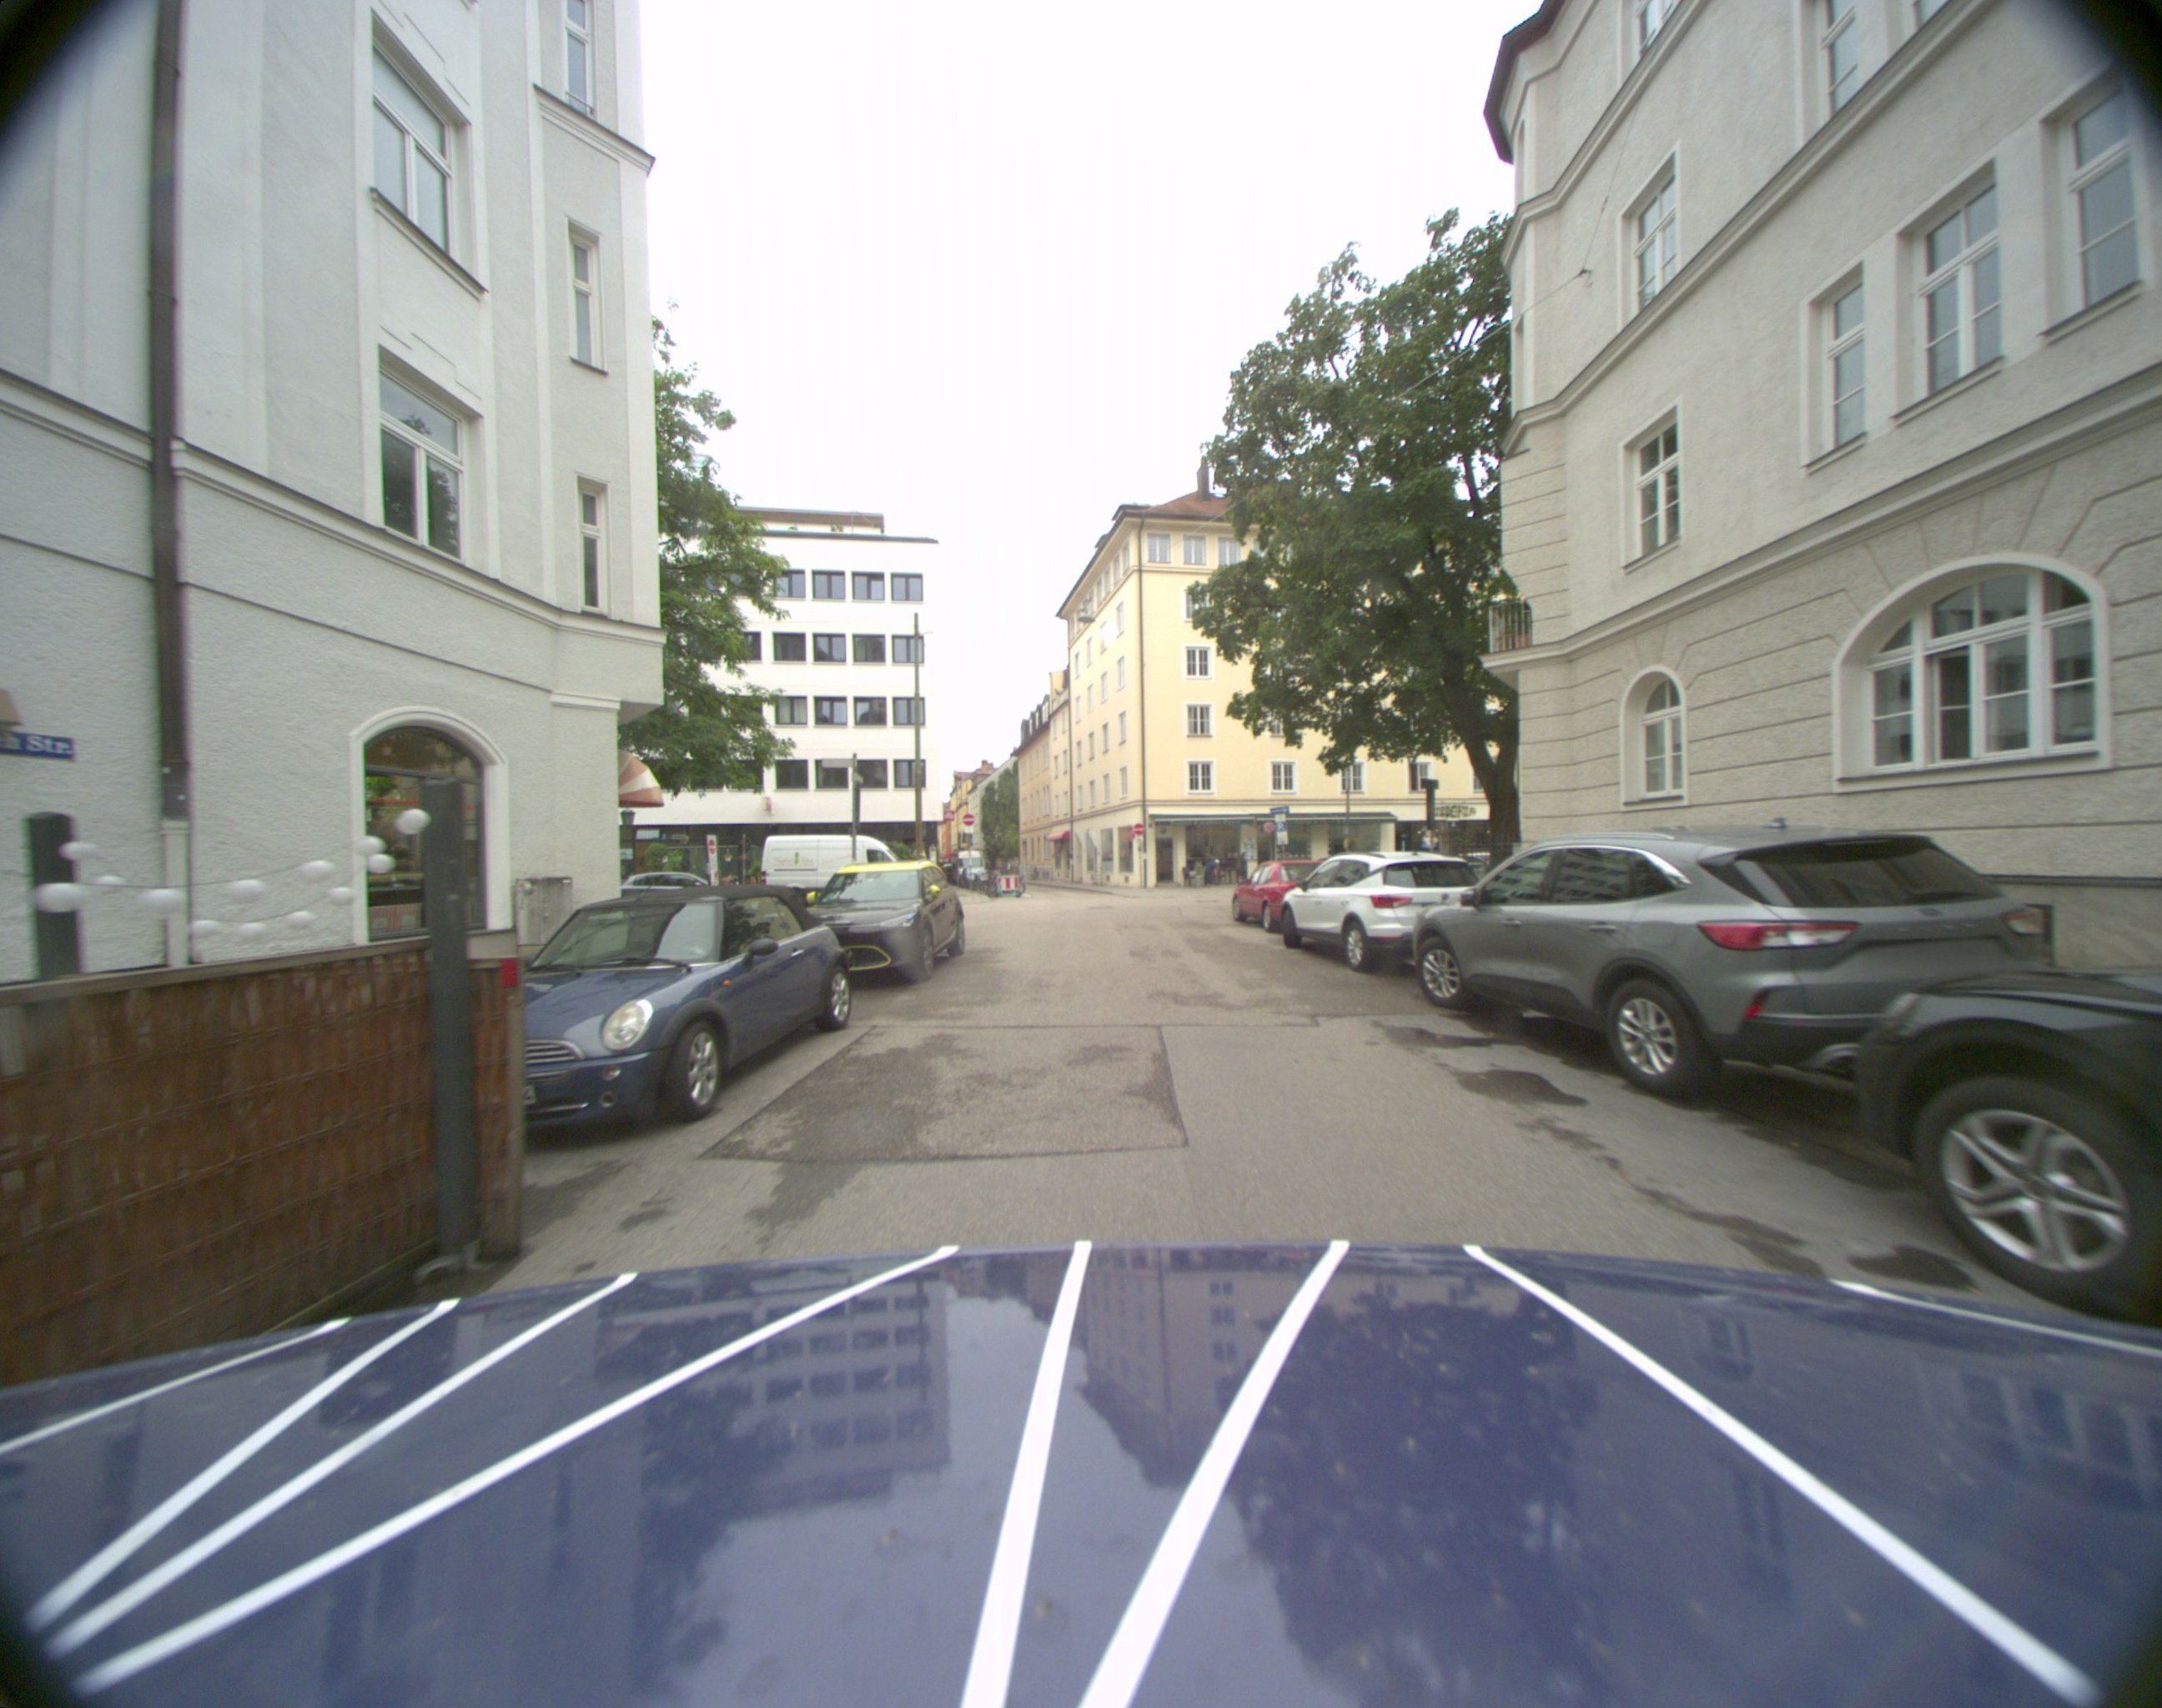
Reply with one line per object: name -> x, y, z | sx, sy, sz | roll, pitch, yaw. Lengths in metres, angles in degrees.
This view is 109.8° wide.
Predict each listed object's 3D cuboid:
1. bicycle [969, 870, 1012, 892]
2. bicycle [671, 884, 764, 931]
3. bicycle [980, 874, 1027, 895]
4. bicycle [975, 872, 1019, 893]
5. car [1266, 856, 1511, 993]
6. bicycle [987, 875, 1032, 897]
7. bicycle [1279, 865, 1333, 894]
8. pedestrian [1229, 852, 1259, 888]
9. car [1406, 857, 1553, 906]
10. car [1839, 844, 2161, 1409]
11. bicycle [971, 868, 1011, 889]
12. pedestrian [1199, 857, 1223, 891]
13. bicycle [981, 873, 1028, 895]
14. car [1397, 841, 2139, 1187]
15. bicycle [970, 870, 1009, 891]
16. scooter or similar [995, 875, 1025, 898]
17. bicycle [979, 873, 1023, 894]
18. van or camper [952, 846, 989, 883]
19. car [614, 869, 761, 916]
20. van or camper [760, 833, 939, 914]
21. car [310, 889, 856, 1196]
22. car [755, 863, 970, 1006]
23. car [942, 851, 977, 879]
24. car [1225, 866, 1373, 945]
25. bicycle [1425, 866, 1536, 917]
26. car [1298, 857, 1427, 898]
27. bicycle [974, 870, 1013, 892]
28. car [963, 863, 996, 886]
bicycle -> -4.899, 1.472, 41.188 | 2.209, 1.138, 0.739 | -1, 0, -12
bicycle -> -9.108, 1.338, 19.077 | 2.009, 1.123, 0.687 | -1, 0, 5
bicycle -> -3.855, 1.511, 37.687 | 2.175, 0.958, 0.974 | -1, 0, -12
bicycle -> -4.420, 1.498, 39.885 | 2.154, 1.026, 0.974 | -1, 0, -12
car -> 4.133, 0.836, 10.959 | 1.699, 1.559, 3.949 | -1, 0, -4
bicycle -> -3.352, 1.479, 35.397 | 1.995, 0.958, 0.973 | -1, 0, -12
bicycle -> 9.601, 1.064, 32.409 | 2.149, 1.195, 0.811 | 0, 0, 20
pedestrian -> 7.772, 0.769, 36.292 | 1.125, 1.667, 0.870 | -1, 0, -9
car -> 13.046, 0.860, 24.978 | 4.000, 1.450, 1.792 | -1, 1, -9
car -> 3.930, 0.741, 0.814 | 1.880, 1.590, 4.434 | -1, 0, 2
bicycle -> -5.243, 1.430, 44.301 | 2.206, 1.138, 0.695 | -1, 0, -12
pedestrian -> 6.403, 0.976, 37.353 | 0.920, 1.601, 0.777 | -1, 0, 30
bicycle -> -3.692, 1.423, 36.539 | 2.178, 0.970, 0.974 | -1, 0, -12
car -> 4.271, 0.804, 5.849 | 1.841, 1.667, 4.212 | -1, 0, -1
bicycle -> -5.411, 1.551, 44.810 | 2.208, 1.138, 0.638 | -1, 0, -12
scooter or similar -> -3.213, 1.462, 34.265 | 1.283, 0.970, 0.498 | -1, 0, -12
bicycle -> -4.099, 1.493, 38.762 | 2.106, 1.026, 0.974 | -1, 0, -12
van or camper -> -8.003, 0.780, 54.618 | 1.968, 2.494, 5.716 | -1, 0, -15
car -> -13.512, 1.345, 26.333 | 4.146, 1.476, 1.892 | -1, -3, -12
van or camper -> -8.187, 0.708, 27.462 | 5.870, 2.696, 2.304 | -1, -3, -8
car -> -3.133, 1.071, 5.725 | 1.670, 1.392, 3.493 | -4, 0, 2
car -> -2.933, 0.992, 11.205 | 1.841, 1.609, 4.095 | -4, 0, 1
car -> -9.642, 0.858, 60.157 | 2.002, 2.121, 3.994 | -1, 0, -19
car -> 4.333, 0.954, 15.827 | 1.685, 1.385, 4.478 | 0, 0, -2
bicycle -> 9.796, 0.883, 18.796 | 0.807, 1.157, 2.648 | -1, 0, -16
car -> 11.450, 0.985, 31.042 | 4.490, 1.473, 2.028 | -1, -5, -11
bicycle -> -4.848, 1.489, 42.017 | 2.037, 1.138, 0.668 | -1, 0, -12
car -> -6.373, 1.244, 47.455 | 1.760, 1.386, 3.996 | -1, 0, -11
